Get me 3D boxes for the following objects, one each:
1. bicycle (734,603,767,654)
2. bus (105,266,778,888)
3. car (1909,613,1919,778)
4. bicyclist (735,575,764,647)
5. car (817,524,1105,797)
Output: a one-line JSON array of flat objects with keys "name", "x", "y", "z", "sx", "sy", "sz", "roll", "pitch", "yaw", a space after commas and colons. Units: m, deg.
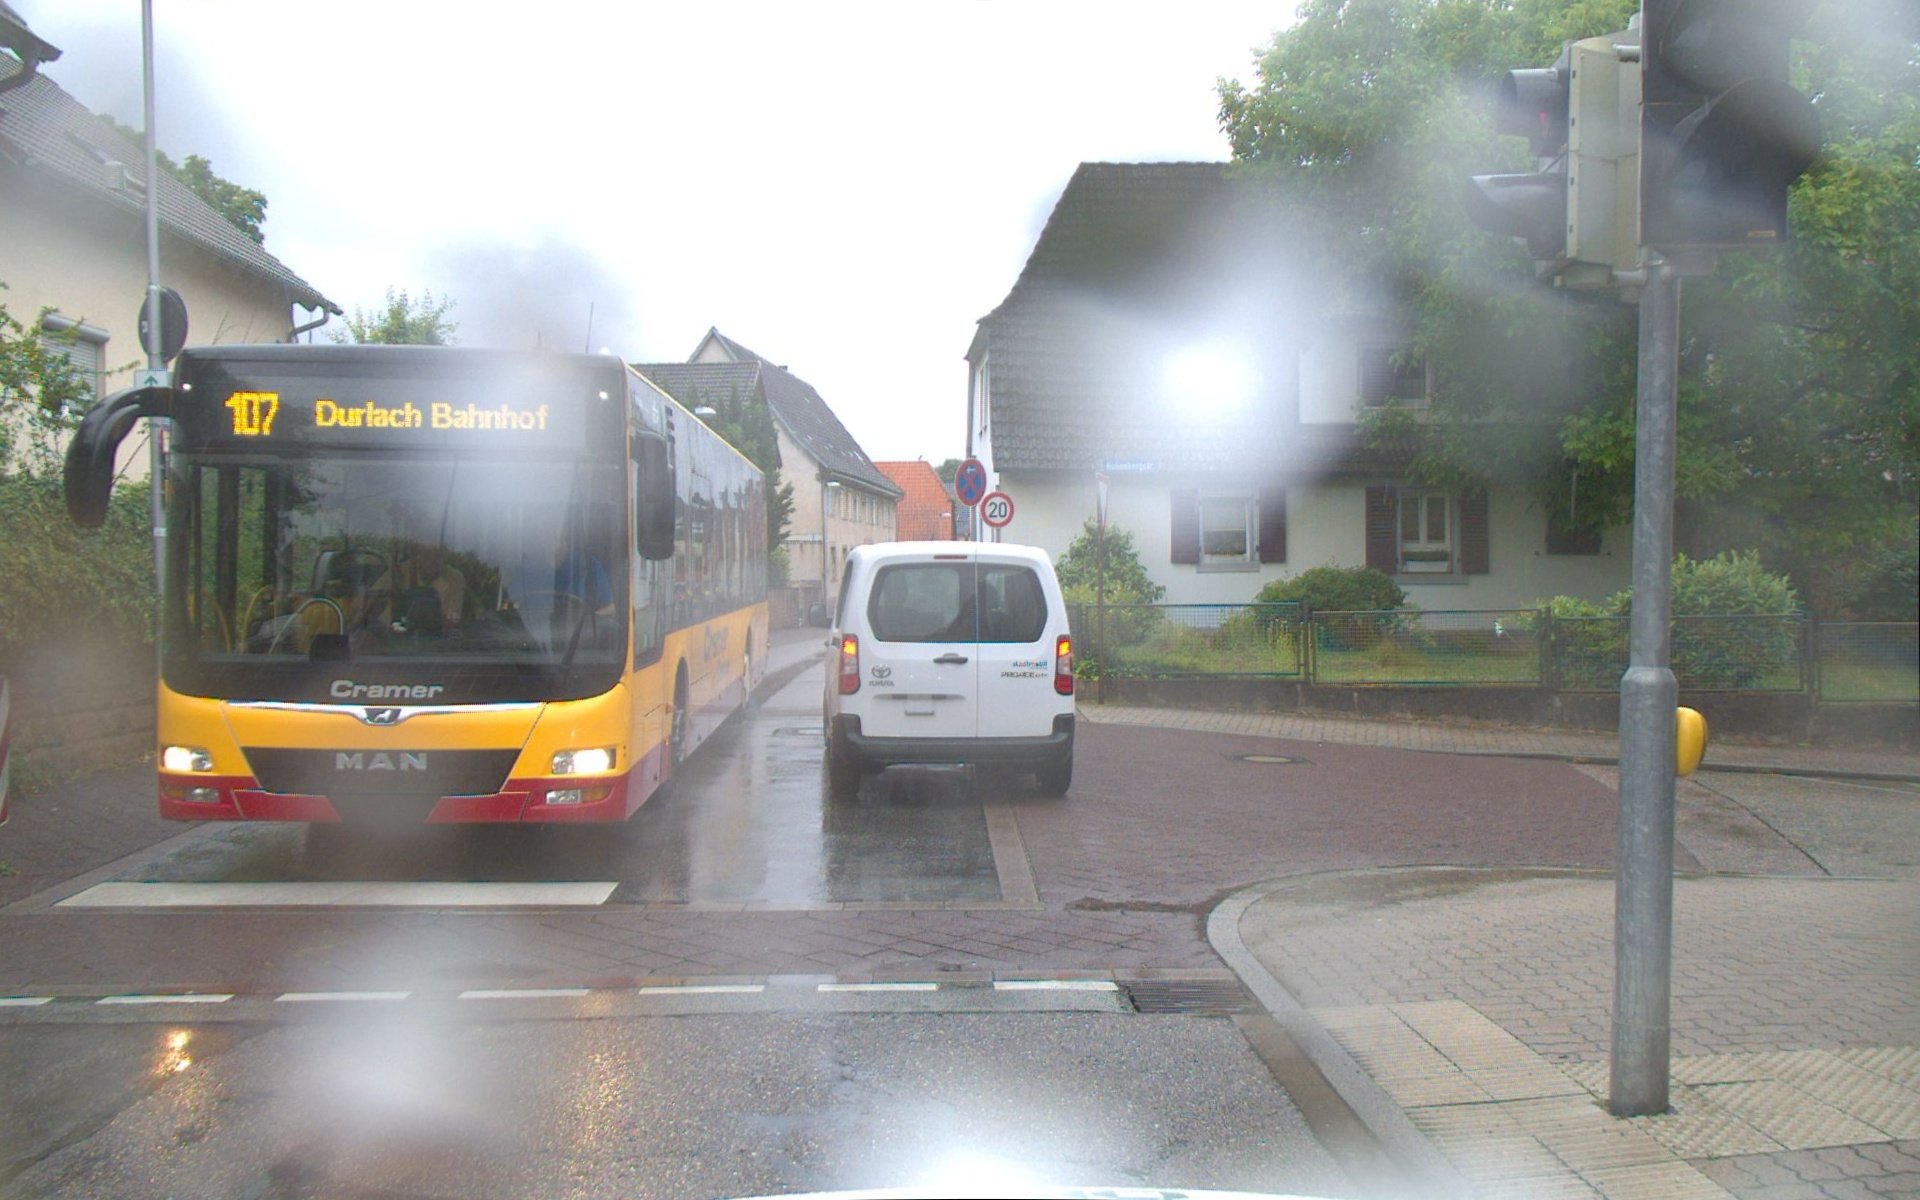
[{"name": "bicycle", "x": -5.181, "y": 0.694, "z": 40.984, "sx": 0.535, "sy": 1.202, "sz": 1.621, "roll": -2, "pitch": 0, "yaw": 2}, {"name": "bus", "x": -3.218, "y": -0.296, "z": 14.275, "sx": 2.597, "sy": 3.051, "sz": 12.186, "roll": 0, "pitch": 2, "yaw": -3}, {"name": "car", "x": 10.436, "y": 0.911, "z": 13.886, "sx": 3.902, "sy": 1.492, "sz": 1.785, "roll": 2, "pitch": -1, "yaw": 14}, {"name": "bicyclist", "x": -5.207, "y": 0.273, "z": 40.943, "sx": 0.577, "sy": 1.737, "sz": 0.517, "roll": -2, "pitch": -1, "yaw": 1}, {"name": "car", "x": -0.149, "y": 0.402, "z": 13.068, "sx": 1.858, "sy": 1.825, "sz": 3.808, "roll": 1, "pitch": 0, "yaw": -6}]
